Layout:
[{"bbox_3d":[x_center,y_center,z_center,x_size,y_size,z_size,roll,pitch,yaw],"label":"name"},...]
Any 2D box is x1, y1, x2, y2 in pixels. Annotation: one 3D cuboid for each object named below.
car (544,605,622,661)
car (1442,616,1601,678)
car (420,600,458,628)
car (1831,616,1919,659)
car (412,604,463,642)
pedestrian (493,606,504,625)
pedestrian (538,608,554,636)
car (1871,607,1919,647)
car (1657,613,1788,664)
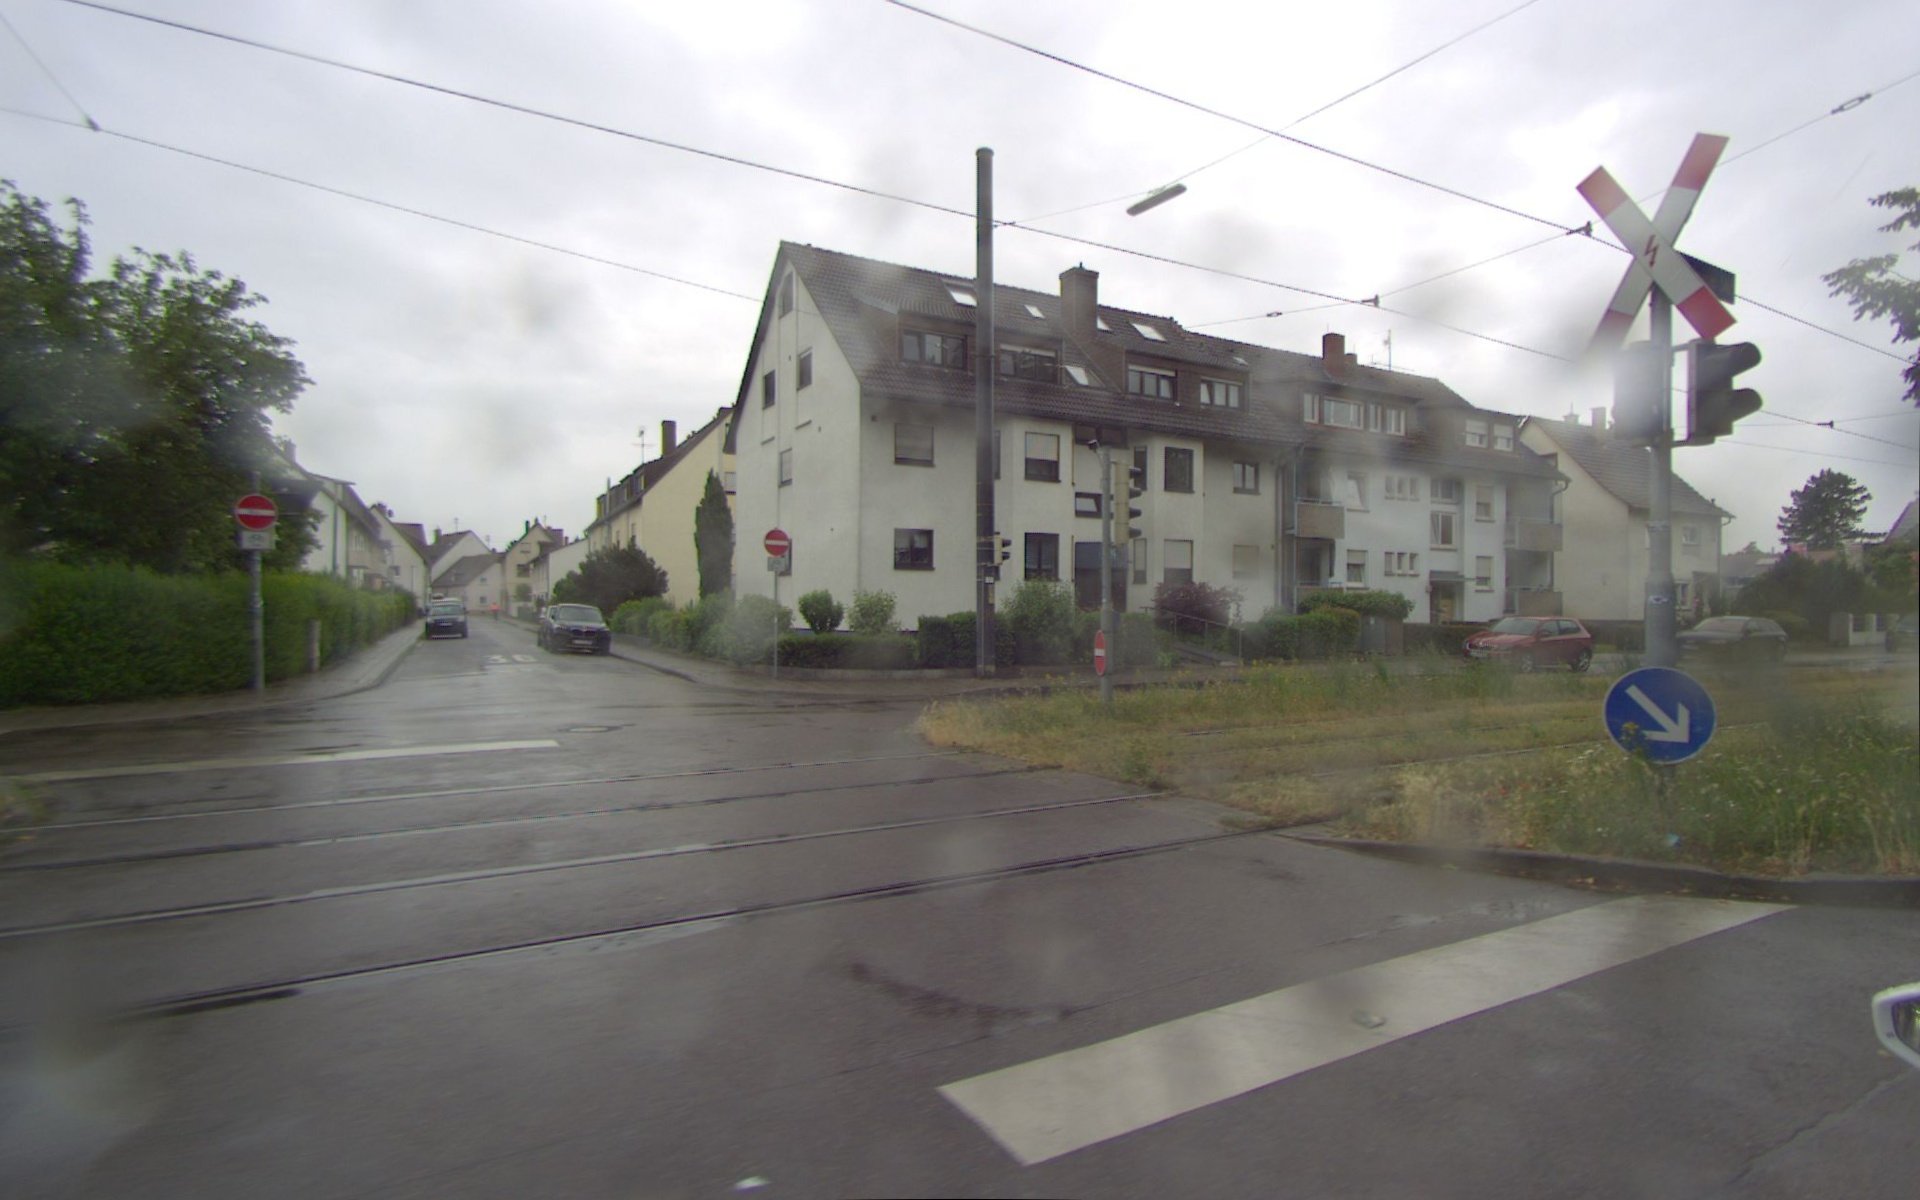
[{"bbox_3d":[-12.581,1.064,33.382,1.975,1.674,3.972,1,0,-27],"label":"car"},{"bbox_3d":[15.187,1.248,27.164,3.950,1.506,1.920,1,0,-28],"label":"car"},{"bbox_3d":[-33.464,0.880,64.458,1.977,1.674,3.967,1,0,-31],"label":"car"},{"bbox_3d":[35.482,1.424,38.474,3.950,1.506,1.920,1,0,-28],"label":"car"},{"bbox_3d":[-25.164,1.083,48.326,1.977,1.674,3.967,1,0,-31],"label":"car"},{"bbox_3d":[-41.555,1.362,90.393,0.800,1.674,0.830,1,0,-28],"label":"pedestrian"},{"bbox_3d":[-26.034,1.375,63.115,0.792,1.776,0.888,1,0,-29],"label":"pedestrian"},{"bbox_3d":[39.062,1.109,40.740,3.950,1.506,1.920,1,0,-28],"label":"car"},{"bbox_3d":[24.598,1.233,32.393,3.950,1.506,1.920,1,0,-28],"label":"car"}]
